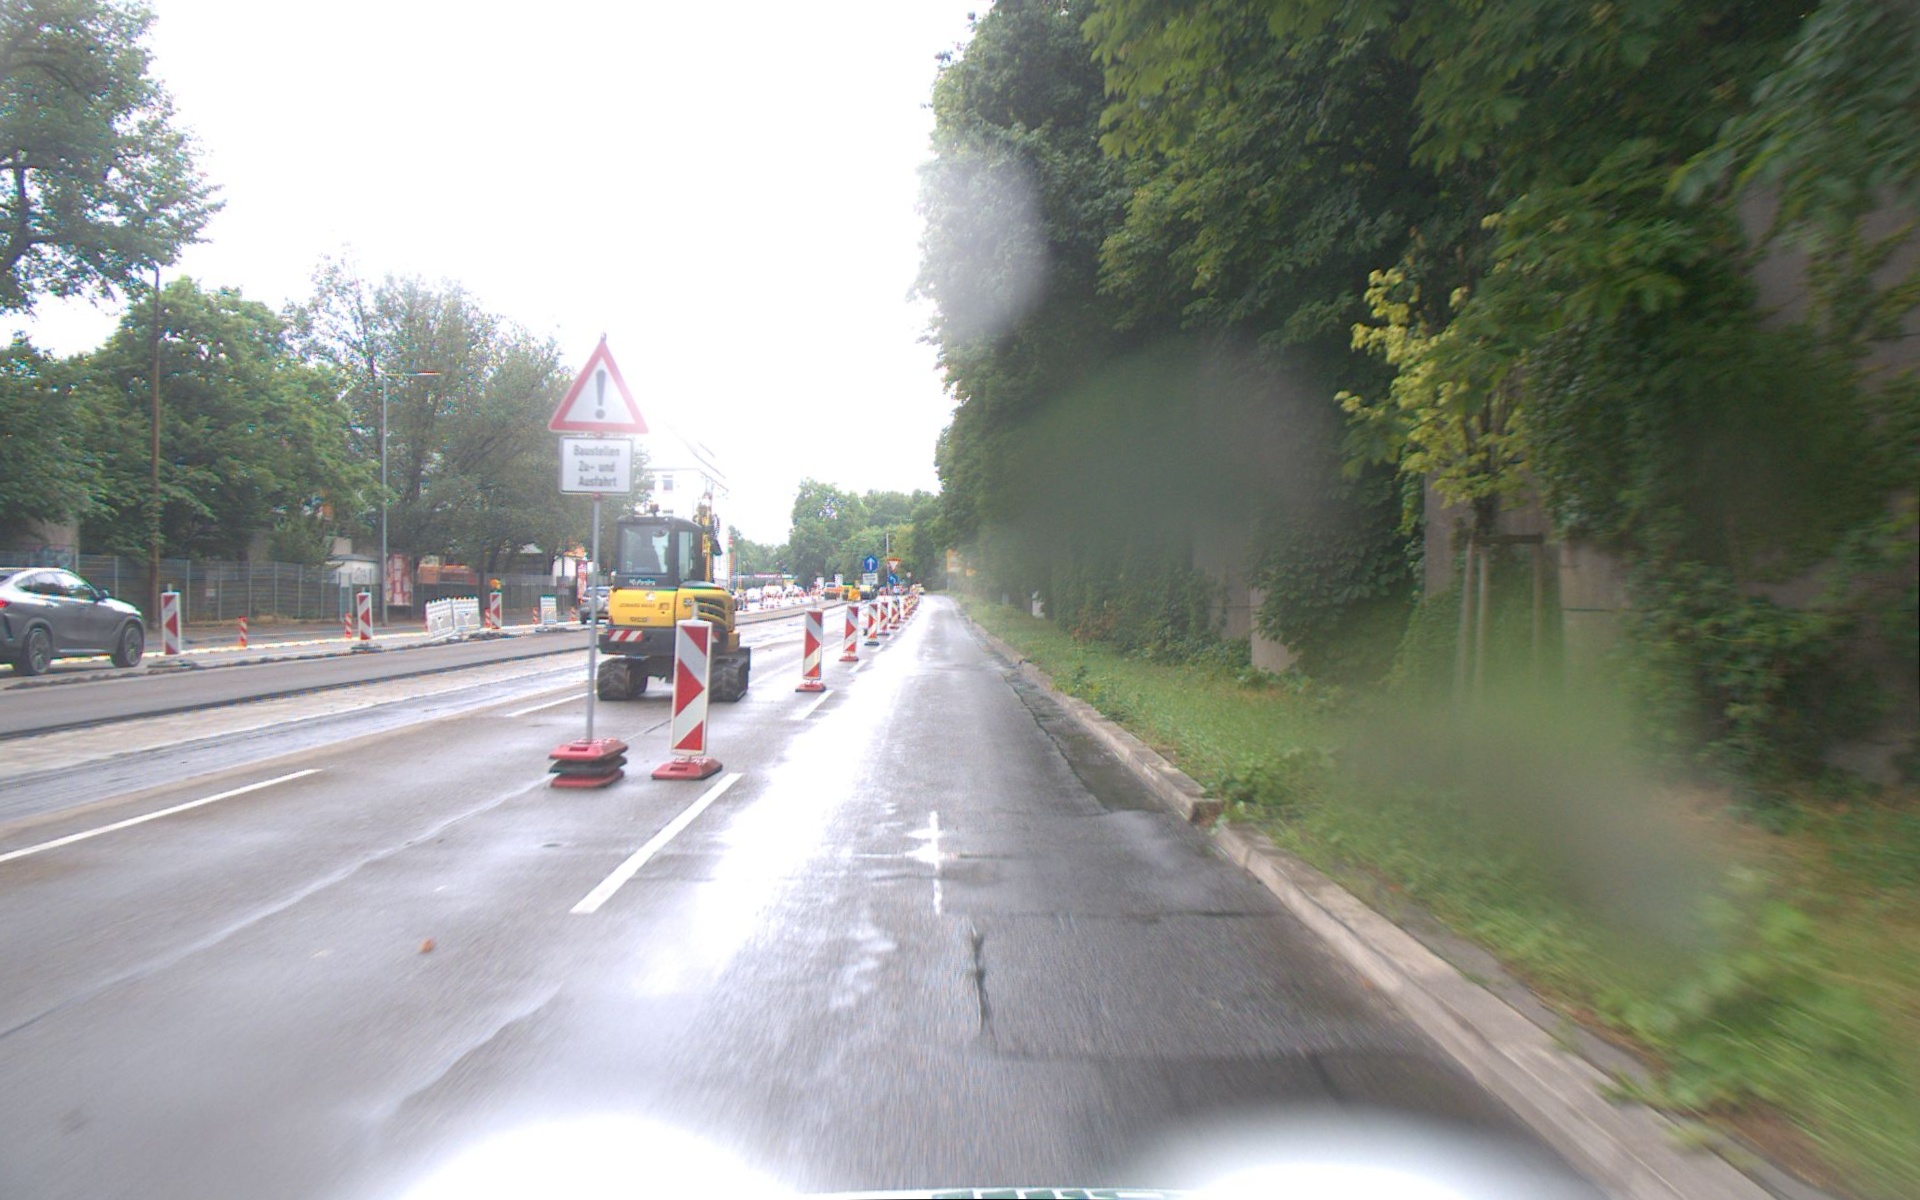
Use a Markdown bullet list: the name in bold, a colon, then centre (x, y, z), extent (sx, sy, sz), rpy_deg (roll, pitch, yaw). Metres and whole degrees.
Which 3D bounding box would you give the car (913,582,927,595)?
- **car**: centre (-5.493, -1.565, 228.062), extent (1.953, 1.702, 3.999), rpy_deg (1, 0, -1)

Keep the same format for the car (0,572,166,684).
- **car**: centre (-15.063, 0.402, 26.789), extent (2.034, 1.641, 5.055), rpy_deg (1, 0, -1)

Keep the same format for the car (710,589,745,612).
- **car**: centre (-16.235, 0.052, 115.585), extent (1.953, 1.545, 3.999), rpy_deg (1, 0, -1)

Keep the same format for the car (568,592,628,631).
- **car**: centre (-16.052, 0.506, 73.527), extent (1.817, 1.677, 3.999), rpy_deg (1, 0, -1)

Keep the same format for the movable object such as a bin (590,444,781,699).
- **movable object such as a bin**: centre (-4.051, -0.381, 25.443), extent (1.953, 3.426, 5.981), rpy_deg (1, 0, -1)
